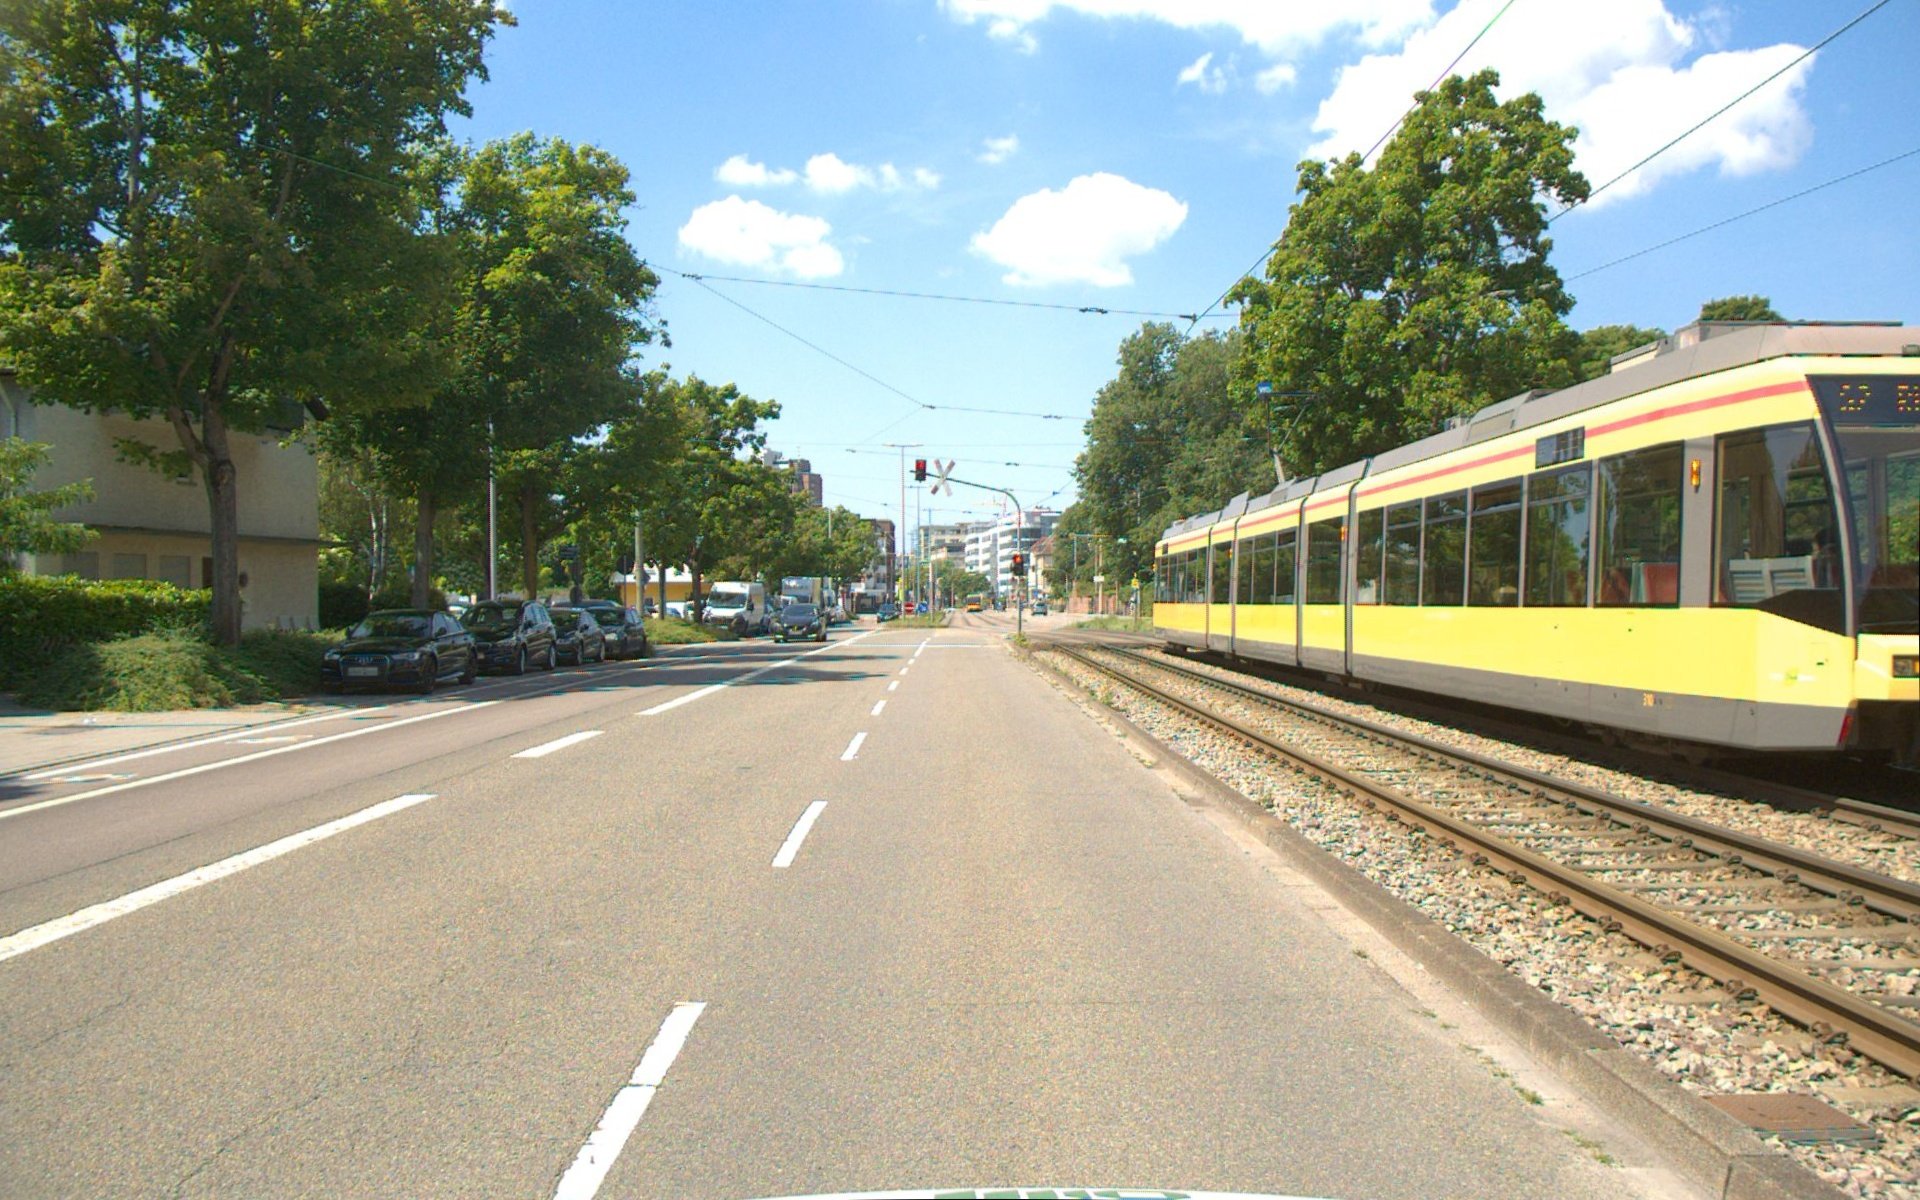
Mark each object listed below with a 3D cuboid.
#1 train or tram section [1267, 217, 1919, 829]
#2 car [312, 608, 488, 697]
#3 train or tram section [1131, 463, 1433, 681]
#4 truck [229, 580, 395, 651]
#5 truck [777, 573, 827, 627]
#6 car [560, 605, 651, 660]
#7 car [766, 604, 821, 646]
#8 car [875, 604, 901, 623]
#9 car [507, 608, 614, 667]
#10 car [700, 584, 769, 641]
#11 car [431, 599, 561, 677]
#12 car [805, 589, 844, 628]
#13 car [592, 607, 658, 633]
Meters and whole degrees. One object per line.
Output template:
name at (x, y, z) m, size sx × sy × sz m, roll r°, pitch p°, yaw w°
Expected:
train or tram section at (6.844, -0.477, 19.383) m, size 2.883 × 3.756 × 18.386 m, roll 0°, pitch 0°, yaw -1°
car at (-10.211, 0.910, 30.550) m, size 1.739 × 1.481 × 4.803 m, roll 0°, pitch 0°, yaw -2°
train or tram section at (6.623, -0.494, 38.738) m, size 2.883 × 3.756 × 20.280 m, roll 0°, pitch 0°, yaw -1°
truck at (-31.343, 0.756, 80.190) m, size 7.042 × 3.284 × 2.331 m, roll -1°, pitch 0°, yaw -2°
truck at (-10.089, 0.015, 106.202) m, size 2.112 × 3.266 × 7.084 m, roll 3°, pitch 0°, yaw 2°
car at (-10.259, 0.911, 48.098) m, size 1.738 × 1.506 × 4.047 m, roll 1°, pitch 0°, yaw 0°
car at (-6.252, 0.908, 62.563) m, size 1.739 × 1.485 × 4.193 m, roll -2°, pitch 0°, yaw -2°
car at (-5.733, 1.070, 132.495) m, size 1.643 × 1.422 × 4.007 m, roll -3°, pitch 0°, yaw 3°
car at (-10.410, 0.932, 43.382) m, size 1.739 × 1.397 × 4.695 m, roll 2°, pitch 0°, yaw -2°
car at (-10.587, 0.571, 78.096) m, size 2.112 × 2.530 × 6.194 m, roll -1°, pitch 0°, yaw 2°
car at (-10.434, 0.817, 37.547) m, size 1.739 × 1.632 × 4.636 m, roll 1°, pitch 0°, yaw -2°
car at (-9.925, 0.590, 121.403) m, size 2.112 × 2.685 × 5.613 m, roll 3°, pitch 0°, yaw 2°
car at (-21.730, 1.277, 107.383) m, size 3.906 × 1.634 × 1.805 m, roll -1°, pitch 0°, yaw -1°
